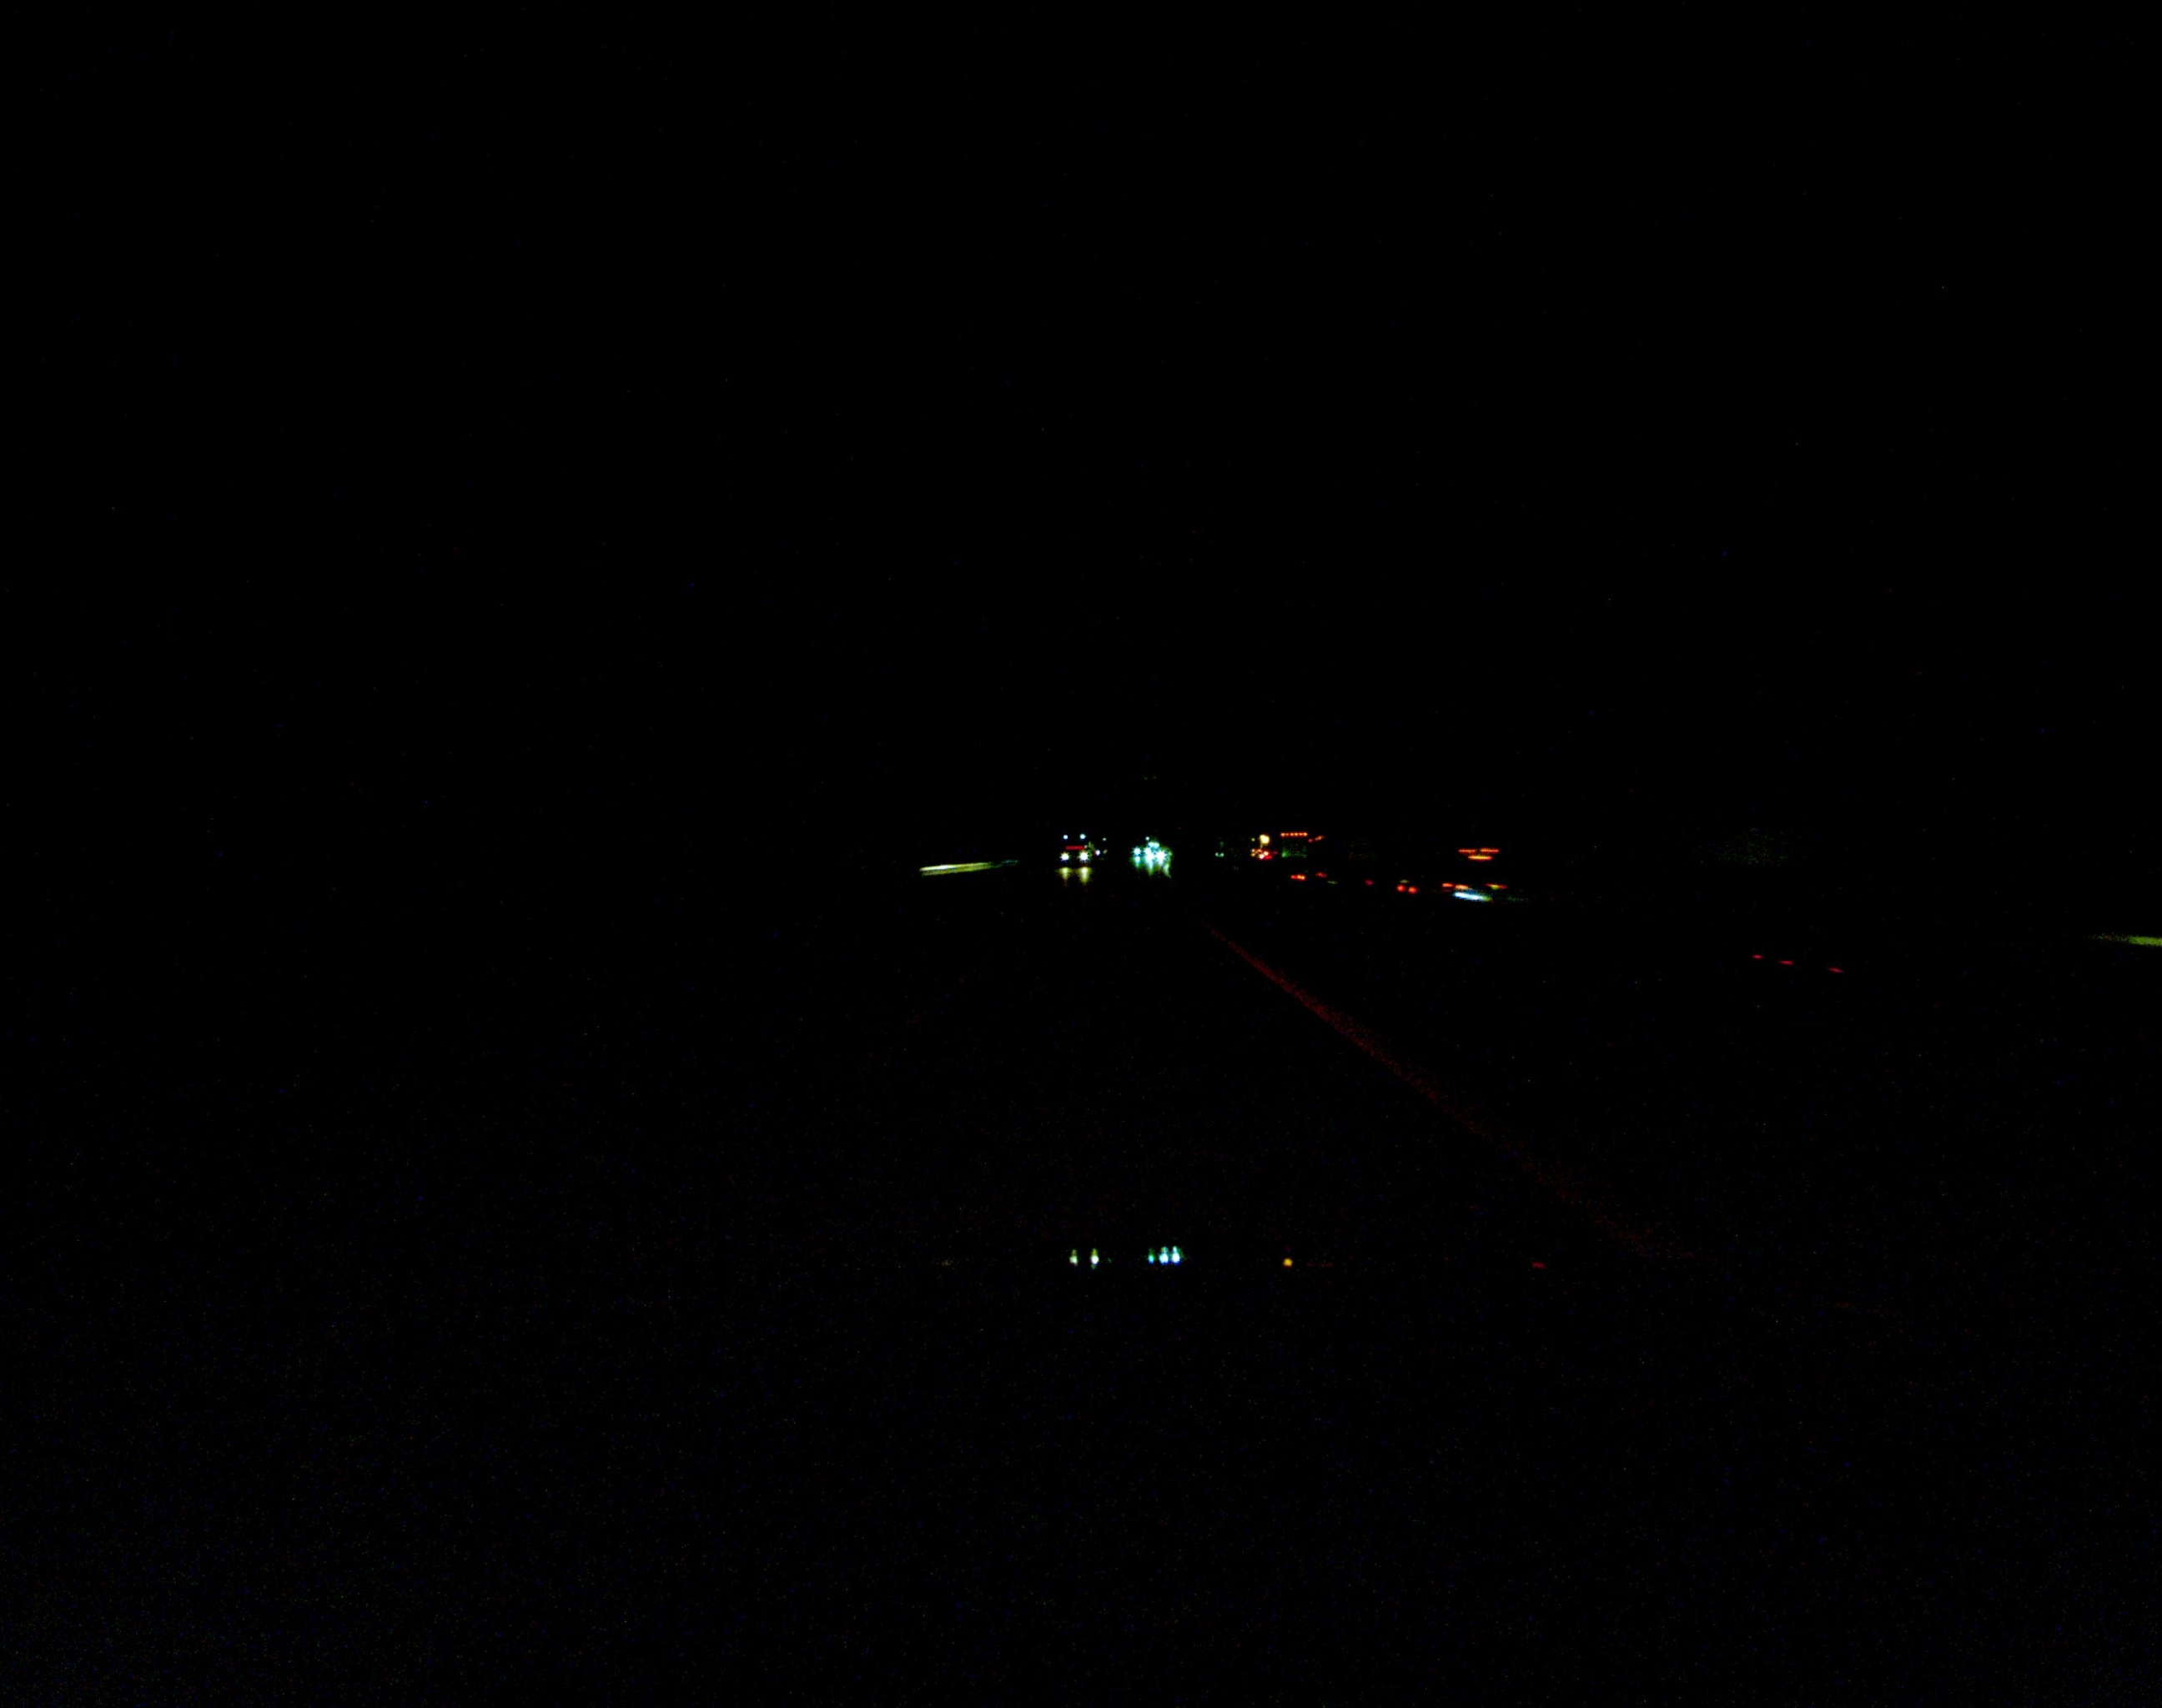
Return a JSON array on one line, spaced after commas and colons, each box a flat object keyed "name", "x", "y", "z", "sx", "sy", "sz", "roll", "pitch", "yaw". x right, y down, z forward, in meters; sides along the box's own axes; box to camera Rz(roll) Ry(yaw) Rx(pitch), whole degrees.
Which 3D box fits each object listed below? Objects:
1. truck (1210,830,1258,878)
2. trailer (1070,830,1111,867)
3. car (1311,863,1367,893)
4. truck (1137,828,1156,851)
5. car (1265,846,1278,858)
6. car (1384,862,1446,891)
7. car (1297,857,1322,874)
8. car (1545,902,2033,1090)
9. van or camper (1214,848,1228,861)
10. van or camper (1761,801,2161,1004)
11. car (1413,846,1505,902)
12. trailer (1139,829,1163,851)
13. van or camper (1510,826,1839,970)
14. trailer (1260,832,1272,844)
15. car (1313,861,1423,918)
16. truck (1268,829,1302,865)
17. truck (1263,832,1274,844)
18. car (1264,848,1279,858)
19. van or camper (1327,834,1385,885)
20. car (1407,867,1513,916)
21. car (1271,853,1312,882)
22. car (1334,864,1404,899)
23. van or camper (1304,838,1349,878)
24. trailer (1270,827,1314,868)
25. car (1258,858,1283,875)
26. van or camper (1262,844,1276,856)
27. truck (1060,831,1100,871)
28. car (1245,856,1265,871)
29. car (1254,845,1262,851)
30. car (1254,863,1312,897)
[{"name": "truck", "x": 12.597, "y": -0.056, "z": 63.174, "sx": 2.660, "sy": 3.570, "sz": 8.550, "roll": -3, "pitch": 1, "yaw": 3}, {"name": "trailer", "x": 1.287, "y": -0.829, "z": 90.238, "sx": 2.879, "sy": 3.909, "sz": 12.891, "roll": -3, "pitch": 2, "yaw": 9}, {"name": "car", "x": 14.513, "y": 1.309, "z": 42.993, "sx": 1.838, "sy": 1.443, "sz": 4.505, "roll": -1, "pitch": 1, "yaw": 3}, {"name": "truck", "x": 11.996, "y": -2.597, "z": 138.485, "sx": 2.898, "sy": 3.949, "sz": 4.003, "roll": -2, "pitch": 1, "yaw": 11}, {"name": "car", "x": 33.812, "y": -0.411, "z": 134.927, "sx": 2.142, "sy": 2.042, "sz": 5.117, "roll": -1, "pitch": 1, "yaw": 14}, {"name": "car", "x": 18.495, "y": 1.217, "z": 42.278, "sx": 1.838, "sy": 1.443, "sz": 4.001, "roll": -1, "pitch": 1, "yaw": 3}, {"name": "car", "x": 21.390, "y": 1.035, "z": 71.154, "sx": 1.604, "sy": 1.434, "sz": 4.001, "roll": -1, "pitch": 1, "yaw": 7}, {"name": "car", "x": 8.265, "y": 1.511, "z": 9.670, "sx": 1.759, "sy": 1.536, "sz": 4.715, "roll": -1, "pitch": 0, "yaw": -1}, {"name": "van or camper", "x": 21.206, "y": 0.037, "z": 114.777, "sx": 2.033, "sy": 2.002, "sz": 4.579, "roll": 0, "pitch": 0, "yaw": 10}, {"name": "van or camper", "x": 15.966, "y": 0.596, "z": 13.322, "sx": 2.451, "sy": 2.745, "sz": 6.488, "roll": -1, "pitch": 1, "yaw": 2}, {"name": "car", "x": 17.502, "y": 0.829, "z": 35.538, "sx": 1.838, "sy": 2.357, "sz": 5.447, "roll": -1, "pitch": 1, "yaw": 3}, {"name": "trailer", "x": 13.560, "y": -2.777, "z": 146.502, "sx": 2.837, "sy": 3.952, "sz": 15.774, "roll": -2, "pitch": 1, "yaw": 11}, {"name": "van or camper", "x": 12.511, "y": 0.781, "z": 16.960, "sx": 2.260, "sy": 2.580, "sz": 6.687, "roll": 0, "pitch": 0, "yaw": 2}, {"name": "trailer", "x": 60.117, "y": -5.208, "z": 247.079, "sx": 2.538, "sy": 3.692, "sz": 10.138, "roll": -4, "pitch": 1, "yaw": 20}, {"name": "car", "x": 8.494, "y": 0.987, "z": 22.932, "sx": 1.838, "sy": 1.443, "sz": 4.505, "roll": -1, "pitch": 1, "yaw": 3}, {"name": "truck", "x": 24.721, "y": -0.858, "z": 92.505, "sx": 3.424, "sy": 4.199, "sz": 6.286, "roll": 0, "pitch": 1, "yaw": 10}, {"name": "truck", "x": 62.553, "y": -5.503, "z": 253.588, "sx": 2.606, "sy": 3.722, "sz": 6.763, "roll": -4, "pitch": 1, "yaw": 21}, {"name": "car", "x": 28.091, "y": -0.191, "z": 112.156, "sx": 1.604, "sy": 1.434, "sz": 4.001, "roll": -1, "pitch": 1, "yaw": 7}, {"name": "van or camper", "x": 19.322, "y": 0.319, "z": 53.742, "sx": 2.274, "sy": 3.360, "sz": 5.695, "roll": -1, "pitch": 1, "yaw": 3}, {"name": "car", "x": 13.706, "y": 1.301, "z": 27.794, "sx": 1.823, "sy": 1.506, "sz": 4.505, "roll": -1, "pitch": 1, "yaw": 3}, {"name": "car", "x": 15.973, "y": 0.994, "z": 57.895, "sx": 1.998, "sy": 2.002, "sz": 4.000, "roll": -2, "pitch": 1, "yaw": 1}, {"name": "car", "x": 13.504, "y": 1.252, "z": 35.937, "sx": 1.823, "sy": 1.443, "sz": 4.505, "roll": -1, "pitch": 1, "yaw": 3}, {"name": "van or camper", "x": 19.566, "y": 0.271, "z": 60.848, "sx": 1.838, "sy": 2.954, "sz": 6.401, "roll": -1, "pitch": 1, "yaw": 3}, {"name": "trailer", "x": 23.425, "y": -0.736, "z": 84.965, "sx": 3.441, "sy": 4.217, "sz": 12.839, "roll": 0, "pitch": 1, "yaw": 10}, {"name": "car", "x": 16.994, "y": 1.111, "z": 68.419, "sx": 1.604, "sy": 1.434, "sz": 4.139, "roll": -1, "pitch": 1, "yaw": 6}, {"name": "van or camper", "x": 31.210, "y": -0.702, "z": 126.105, "sx": 1.997, "sy": 2.002, "sz": 5.224, "roll": -1, "pitch": 1, "yaw": 10}, {"name": "truck", "x": 0.000, "y": -0.424, "z": 82.638, "sx": 2.872, "sy": 3.819, "sz": 8.056, "roll": -2, "pitch": 3, "yaw": 10}, {"name": "car", "x": 18.075, "y": 0.948, "z": 78.908, "sx": 1.604, "sy": 1.434, "sz": 4.001, "roll": -1, "pitch": 1, "yaw": 7}, {"name": "car", "x": 42.287, "y": -1.465, "z": 181.927, "sx": 1.819, "sy": 1.460, "sz": 4.283, "roll": -1, "pitch": 1, "yaw": 13}, {"name": "car", "x": 9.825, "y": 1.222, "z": 37.268, "sx": 1.823, "sy": 1.443, "sz": 4.505, "roll": -1, "pitch": 1, "yaw": 3}]
